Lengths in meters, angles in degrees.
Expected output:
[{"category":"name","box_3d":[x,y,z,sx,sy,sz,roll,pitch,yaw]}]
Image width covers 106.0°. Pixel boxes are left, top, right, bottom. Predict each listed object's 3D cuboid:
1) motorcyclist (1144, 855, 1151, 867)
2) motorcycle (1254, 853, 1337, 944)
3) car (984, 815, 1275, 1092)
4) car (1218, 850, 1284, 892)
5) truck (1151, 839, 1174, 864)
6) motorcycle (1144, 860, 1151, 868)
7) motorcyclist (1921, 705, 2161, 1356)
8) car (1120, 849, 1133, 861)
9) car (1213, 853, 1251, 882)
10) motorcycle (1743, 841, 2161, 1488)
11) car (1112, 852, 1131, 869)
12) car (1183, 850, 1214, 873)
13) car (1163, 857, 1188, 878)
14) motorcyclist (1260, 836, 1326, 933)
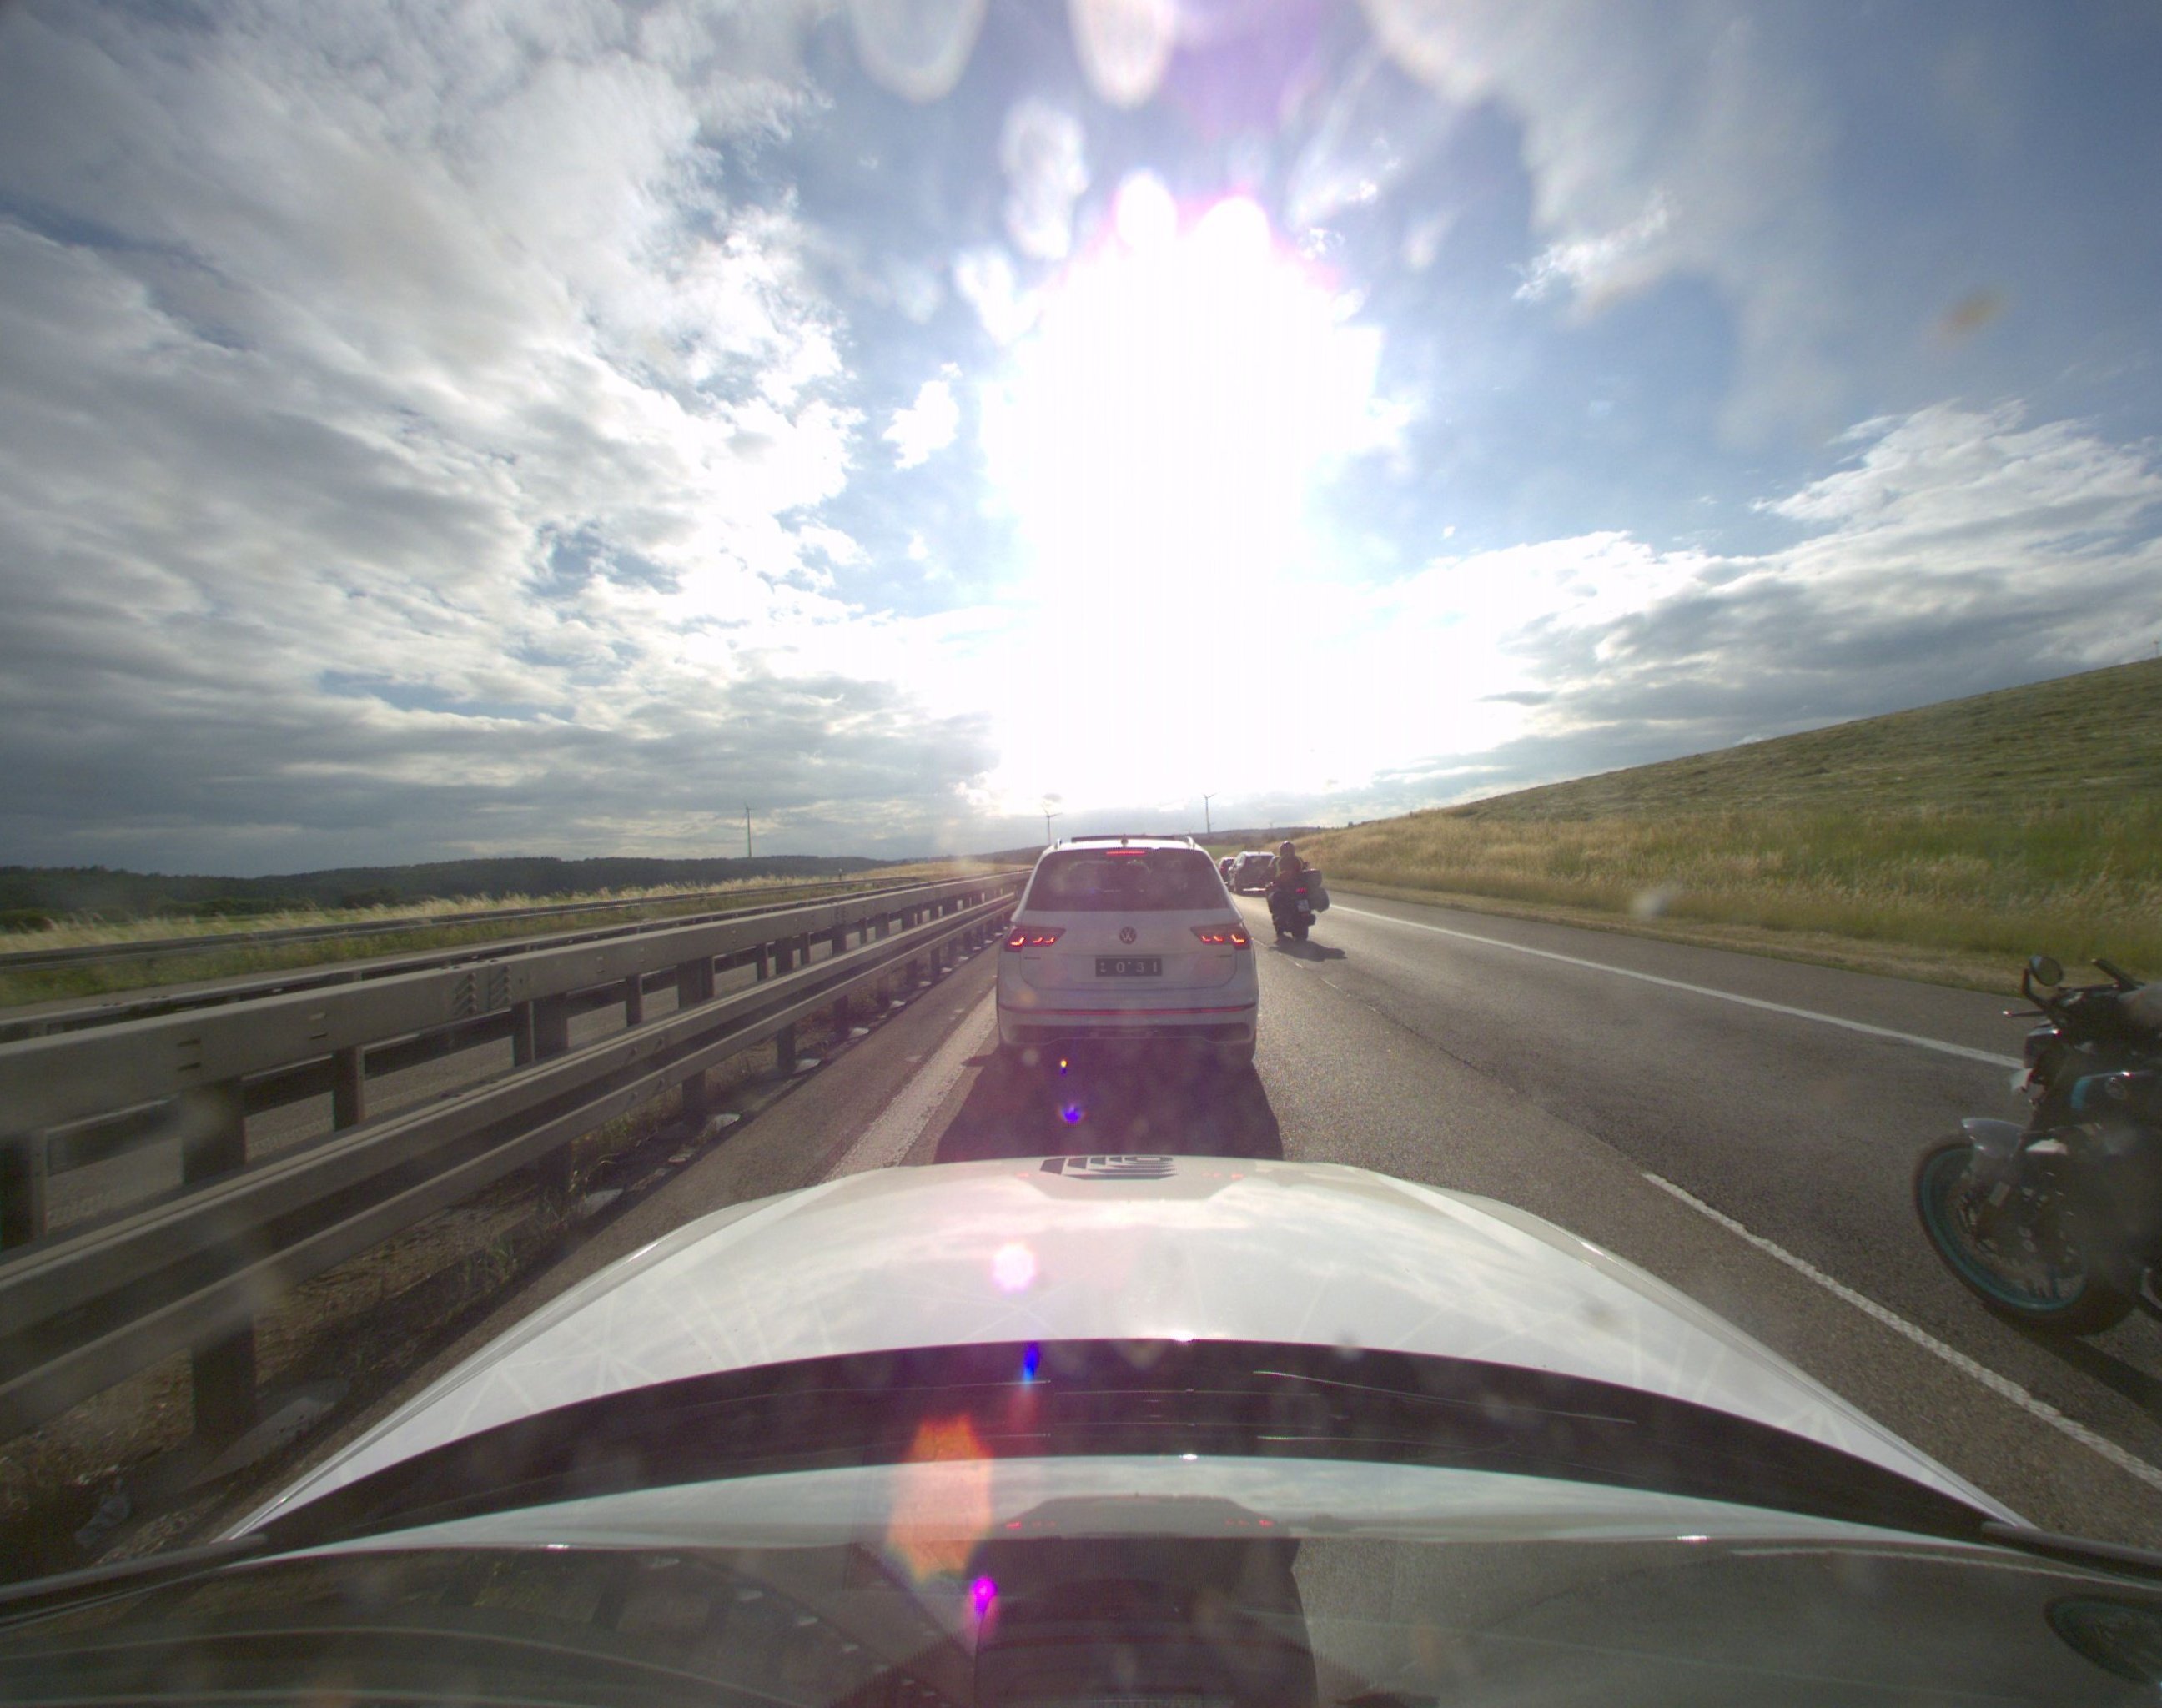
[{"category":"motorcyclist","box_3d":[9.293,0.958,113.681,0.846,1.560,0.934,-1,-1,1]},{"category":"motorcycle","box_3d":[3.724,0.729,14.377,0.892,1.455,2.270,-1,-1,1]},{"category":"car","box_3d":[0.364,0.633,7.029,1.763,1.675,4.001,-1,-1,2]},{"category":"car","box_3d":[6.855,0.671,33.205,1.815,1.601,4.234,0,-1,0]},{"category":"truck","box_3d":[12.590,-0.352,127.032,3.170,3.594,11.142,-1,0,4]},{"category":"motorcycle","box_3d":[9.302,1.389,113.720,0.892,1.190,2.257,-1,-1,1]},{"category":"motorcyclist","box_3d":[2.857,0.389,1.874,0.892,1.456,0.892,-1,-1,1]},{"category":"car","box_3d":[6.161,0.136,110.134,1.697,1.546,4.001,-1,-1,2]},{"category":"car","box_3d":[8.002,0.710,43.490,1.598,1.420,3.676,-1,-1,4]},{"category":"motorcycle","box_3d":[2.868,0.692,1.988,0.892,1.455,1.983,-1,-1,1]},{"category":"car","box_3d":[3.978,0.648,80.253,1.697,1.650,4.001,-1,-1,2]},{"category":"car","box_3d":[8.221,0.538,57.402,1.697,1.546,4.001,-1,-1,2]},{"category":"car","box_3d":[7.674,1.070,66.529,1.697,1.650,4.001,-1,-1,2]},{"category":"motorcyclist","box_3d":[3.715,0.522,14.362,0.892,1.617,1.022,-1,-1,1]}]
